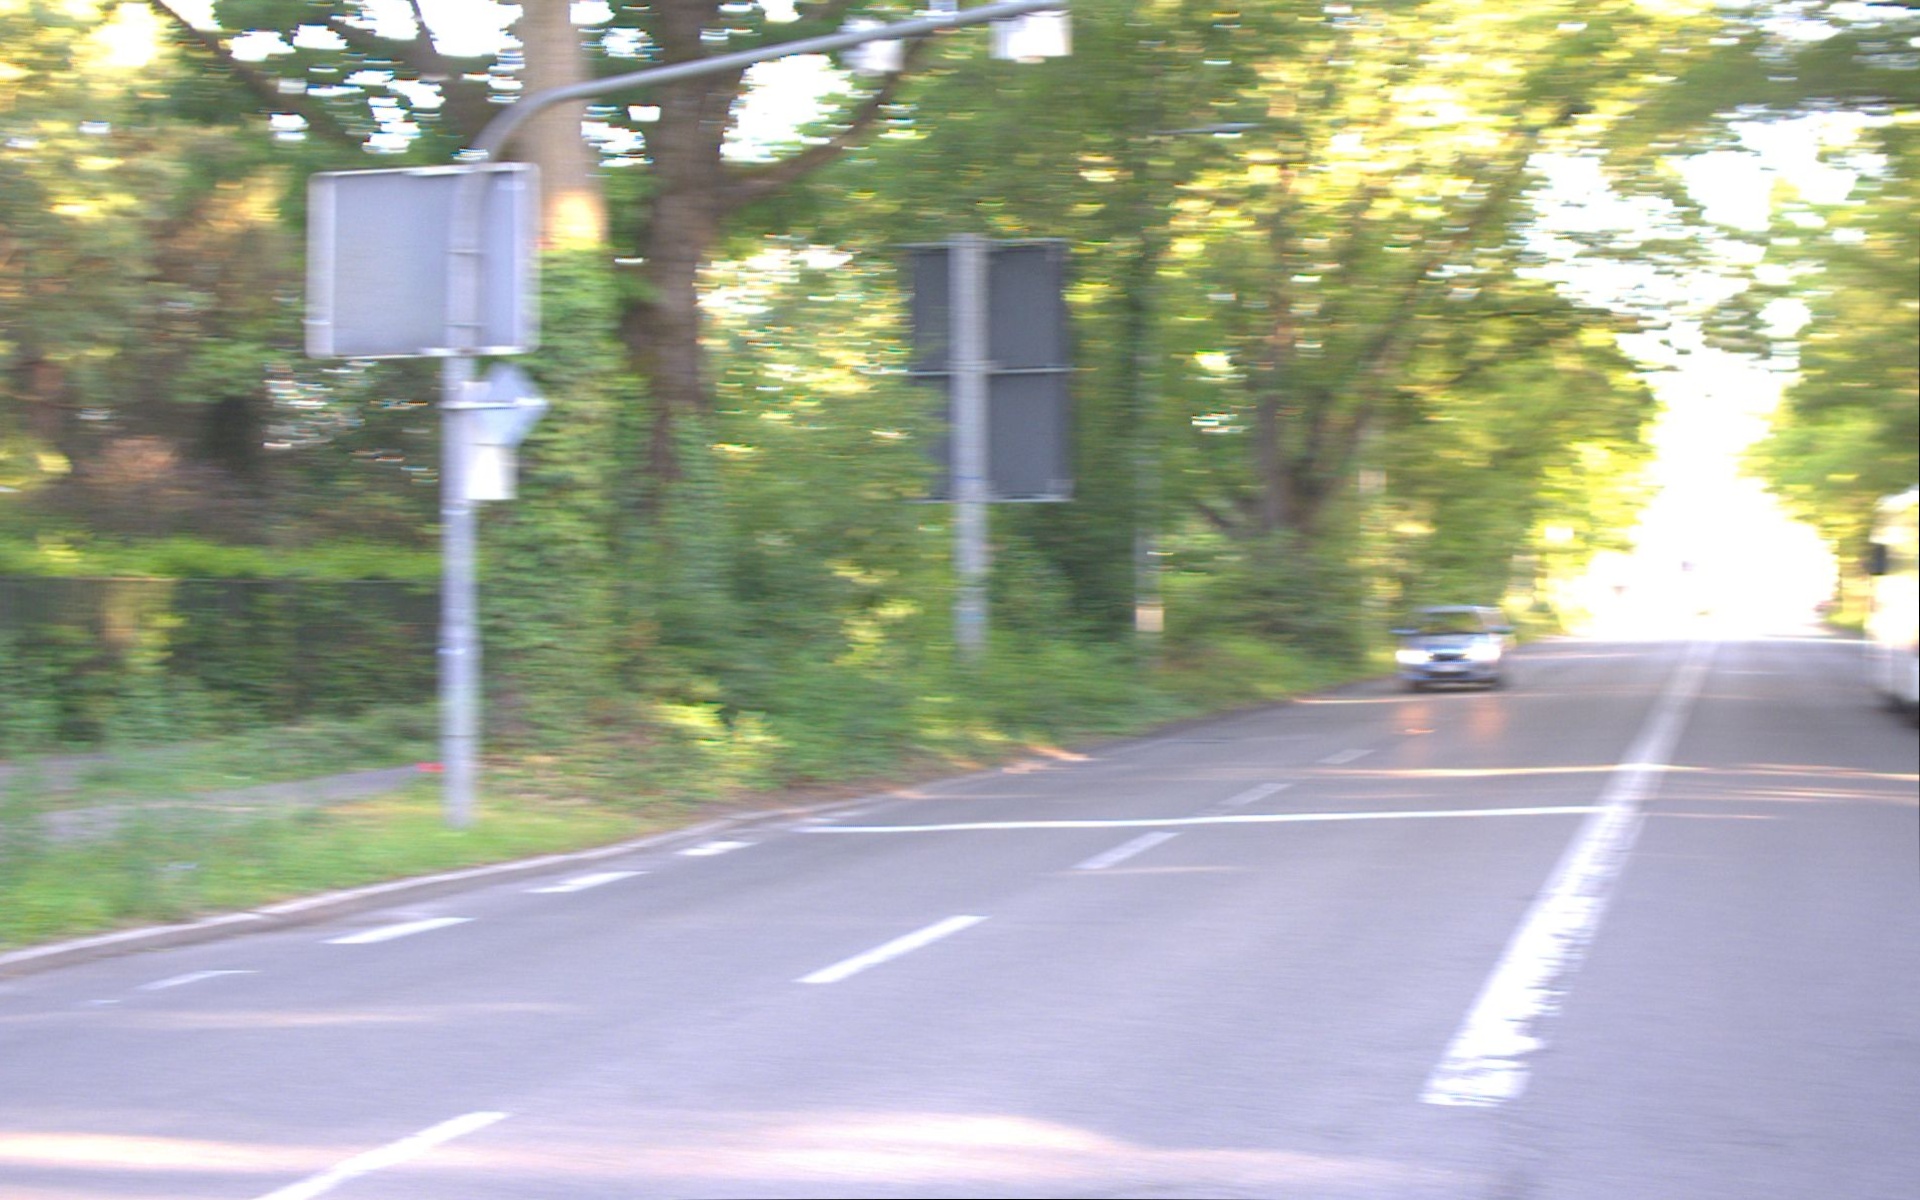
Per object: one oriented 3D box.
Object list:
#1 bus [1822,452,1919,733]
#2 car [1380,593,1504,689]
[{"bbox_3d":[12.816,-0.045,43.760,3.014,3.077,12.263,3,1,12],"label":"bus"},{"bbox_3d":[8.604,0.705,61.091,1.807,1.574,4.317,-2,0,12],"label":"car"}]
